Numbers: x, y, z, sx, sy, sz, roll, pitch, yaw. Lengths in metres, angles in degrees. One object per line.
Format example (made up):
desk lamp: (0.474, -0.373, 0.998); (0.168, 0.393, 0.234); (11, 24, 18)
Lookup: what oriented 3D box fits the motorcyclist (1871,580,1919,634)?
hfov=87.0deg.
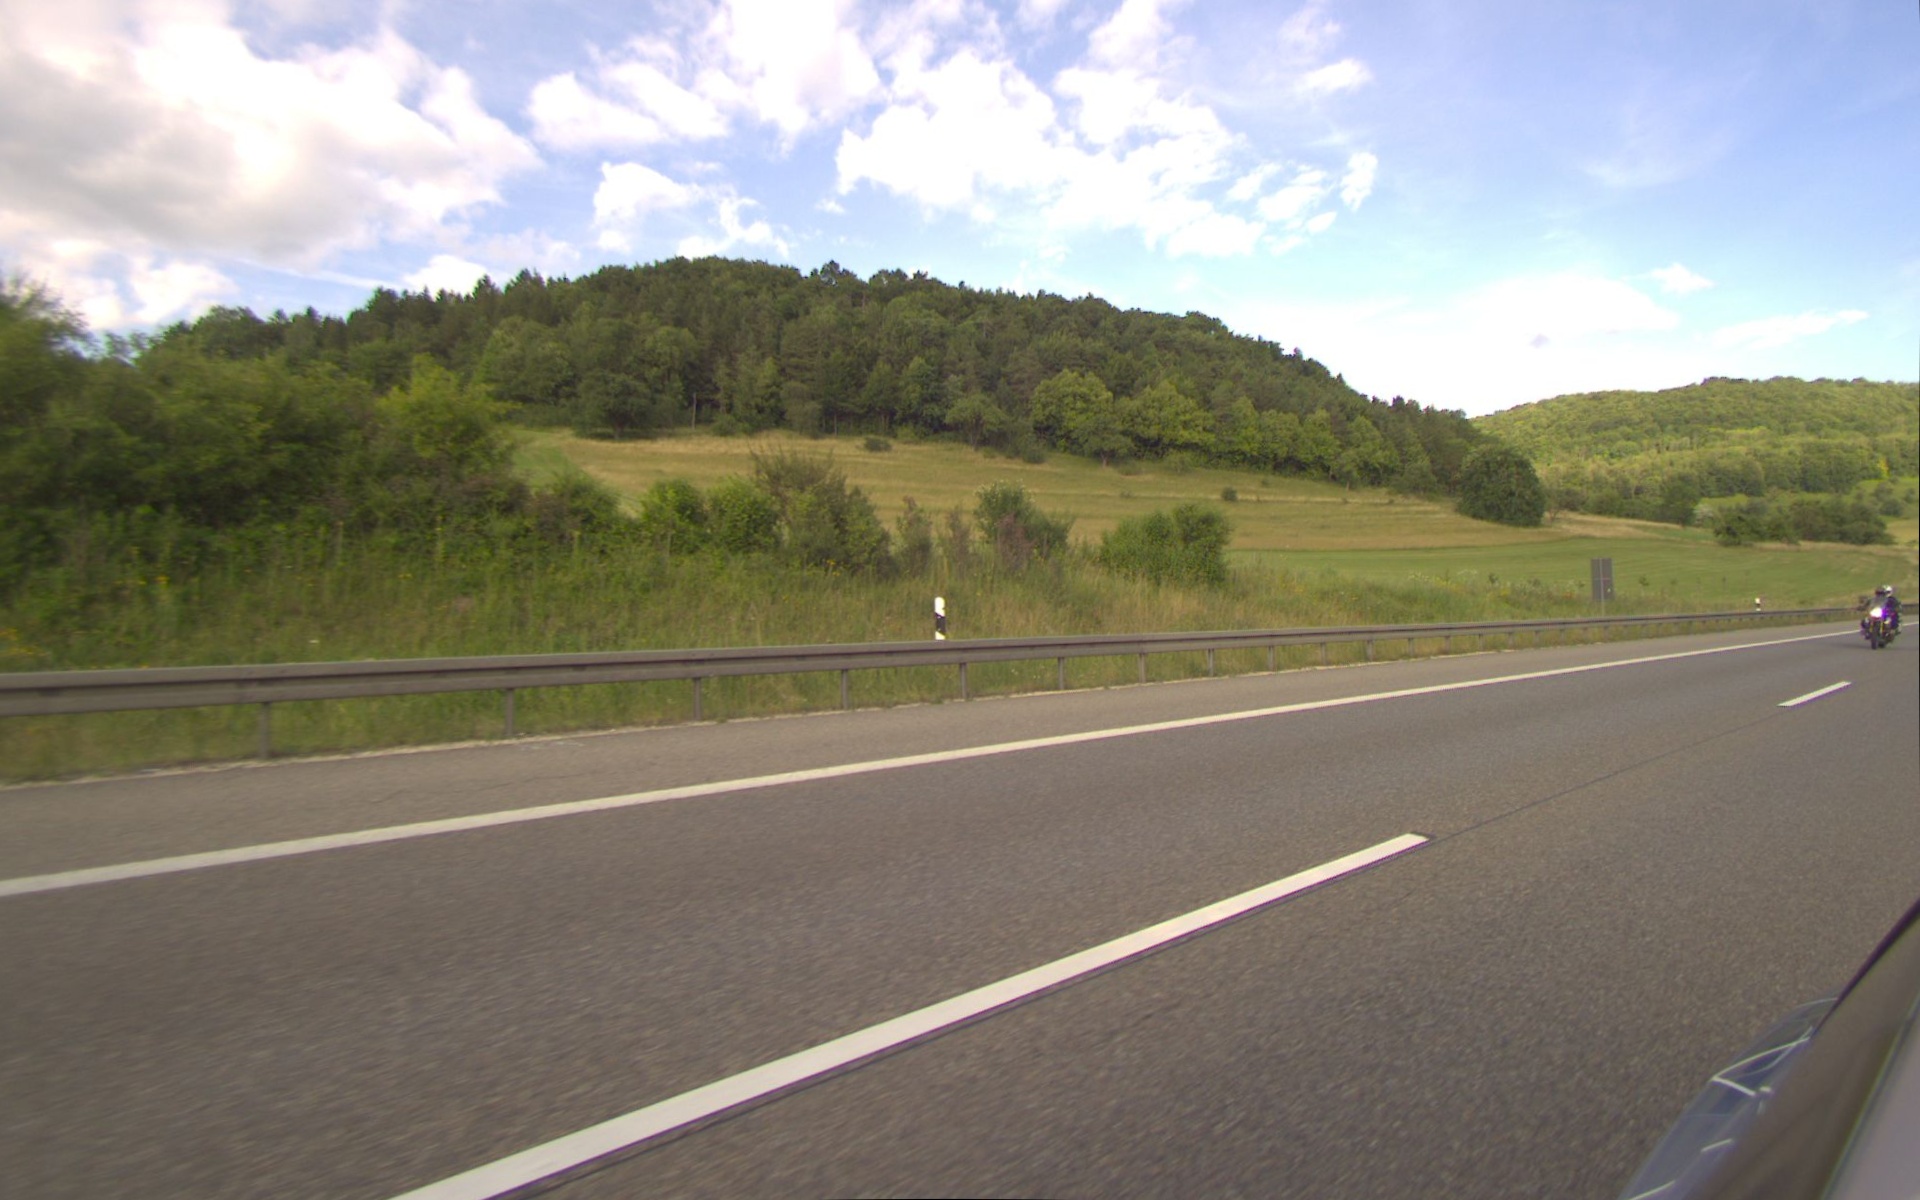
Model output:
motorcyclist: (26.953, 0.191, 29.173); (0.783, 1.534, 0.879); (-1, 1, -37)

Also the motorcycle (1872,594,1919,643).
motorcycle: (27.080, 0.521, 29.248); (1.705, 1.356, 0.629); (-1, 1, -33)
